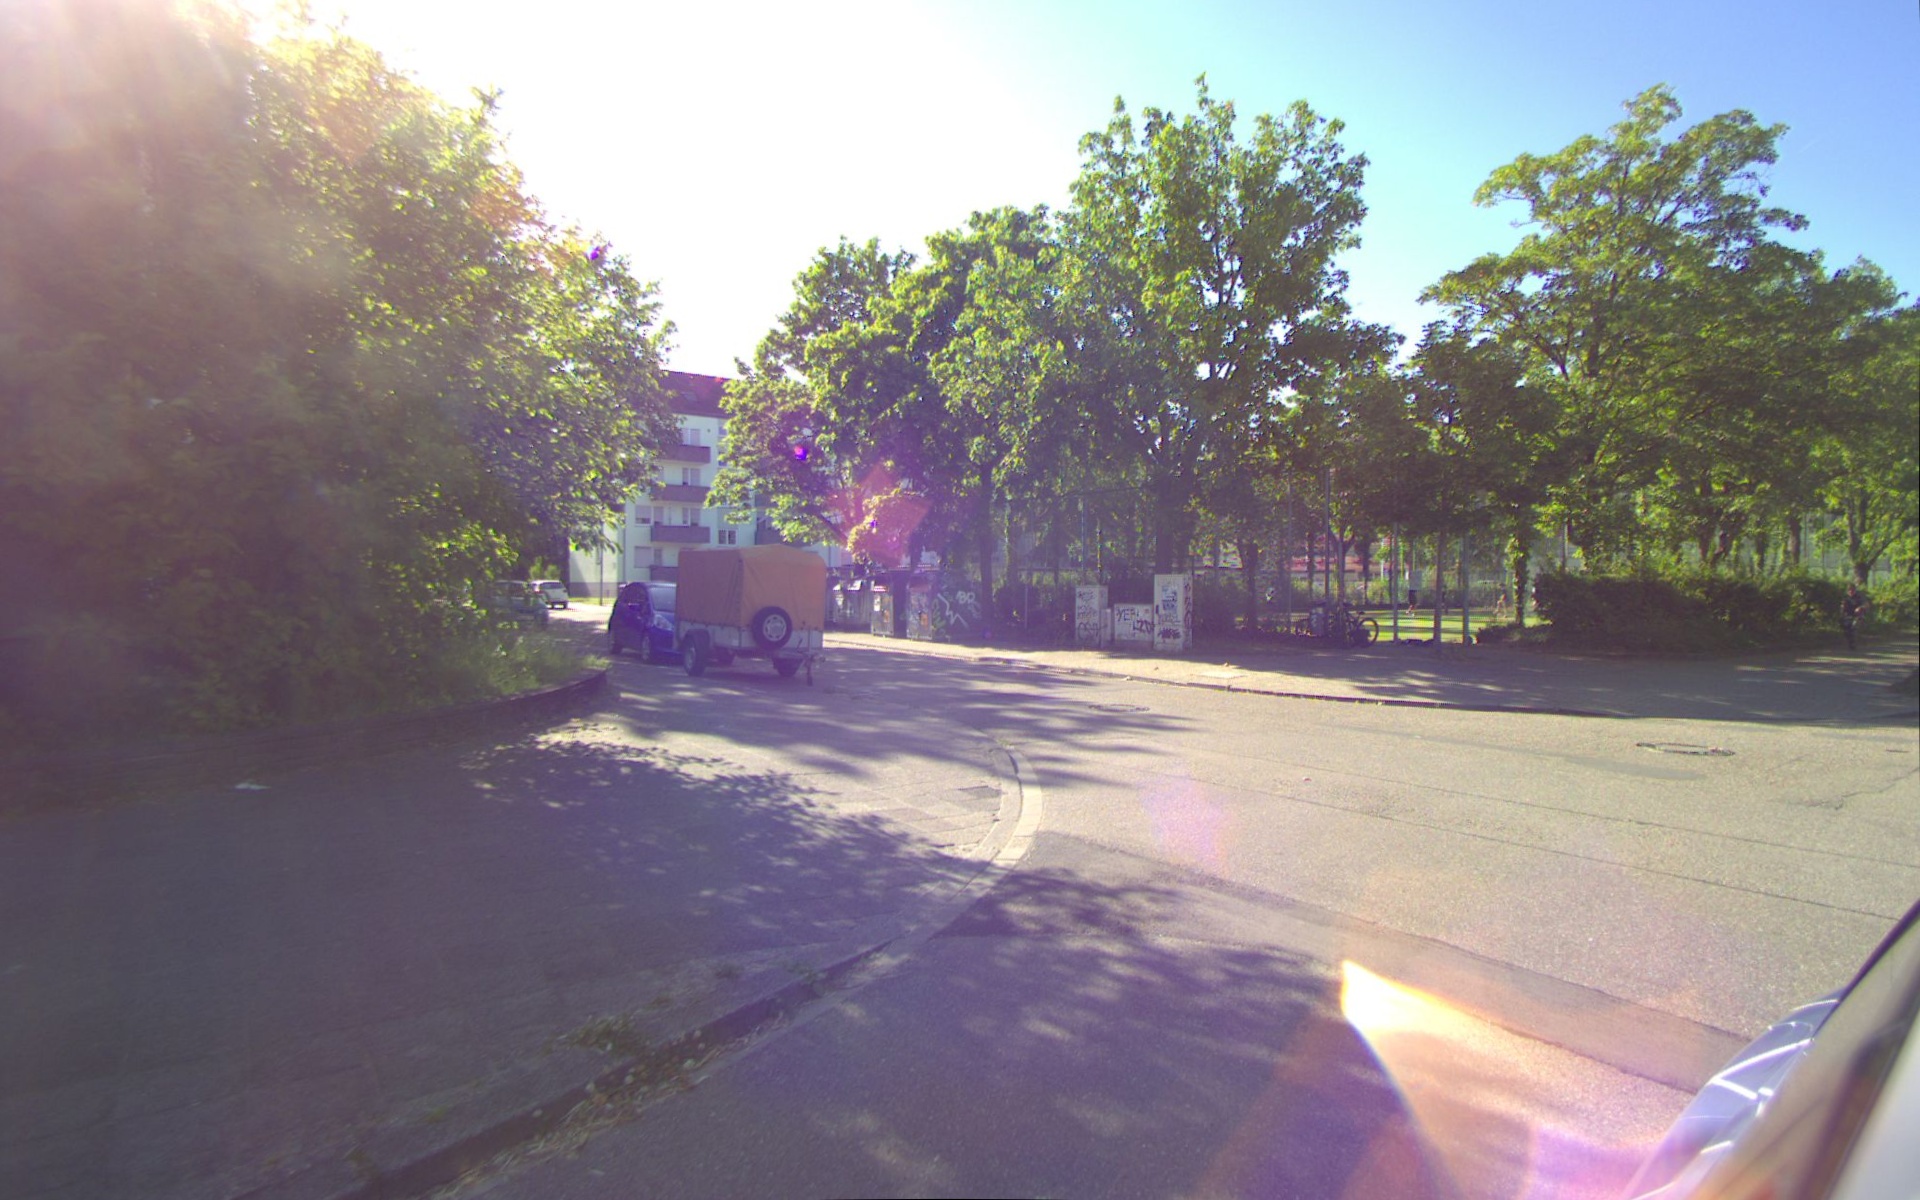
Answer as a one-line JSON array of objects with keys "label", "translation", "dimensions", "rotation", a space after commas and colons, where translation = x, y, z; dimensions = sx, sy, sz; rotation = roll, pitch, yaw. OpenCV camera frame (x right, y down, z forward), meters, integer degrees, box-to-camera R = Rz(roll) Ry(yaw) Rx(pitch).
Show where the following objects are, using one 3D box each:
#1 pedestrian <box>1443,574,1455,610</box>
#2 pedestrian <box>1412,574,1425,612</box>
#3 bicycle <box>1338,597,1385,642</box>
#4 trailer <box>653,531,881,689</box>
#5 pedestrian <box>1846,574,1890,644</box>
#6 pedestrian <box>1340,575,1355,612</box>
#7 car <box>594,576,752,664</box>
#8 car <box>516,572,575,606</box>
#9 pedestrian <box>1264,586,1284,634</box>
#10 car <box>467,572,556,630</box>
[{"label": "pedestrian", "translation": [20.924, -0.343, 43.285], "dimensions": [0.394, 1.555, 0.317], "rotation": [1, 0, -40]}, {"label": "pedestrian", "translation": [18.756, -0.289, 41.420], "dimensions": [0.386, 1.555, 0.320], "rotation": [1, 0, -40]}, {"label": "bicycle", "translation": [8.782, 0.424, 22.149], "dimensions": [0.891, 0.970, 0.294], "rotation": [1, 0, 7]}, {"label": "trailer", "translation": [-3.164, 0.097, 15.958], "dimensions": [1.941, 2.146, 4.074], "rotation": [1, 1, -36]}, {"label": "pedestrian", "translation": [21.881, 0.204, 24.386], "dimensions": [0.629, 1.659, 0.642], "rotation": [0, 0, -33]}, {"label": "pedestrian", "translation": [16.467, -0.294, 42.997], "dimensions": [0.422, 1.555, 0.436], "rotation": [1, 0, -40]}, {"label": "car", "translation": [-5.798, 0.308, 20.140], "dimensions": [1.854, 1.530, 3.931], "rotation": [-1, 2, -34]}, {"label": "car", "translation": [-21.531, -0.591, 52.521], "dimensions": [2.027, 1.671, 4.001], "rotation": [0, 1, -34]}, {"label": "pedestrian", "translation": [10.363, 0.330, 33.420], "dimensions": [0.422, 1.555, 0.436], "rotation": [1, 0, -40]}, {"label": "car", "translation": [-13.950, -0.018, 31.385], "dimensions": [1.838, 1.671, 4.001], "rotation": [0, 1, -34]}]
